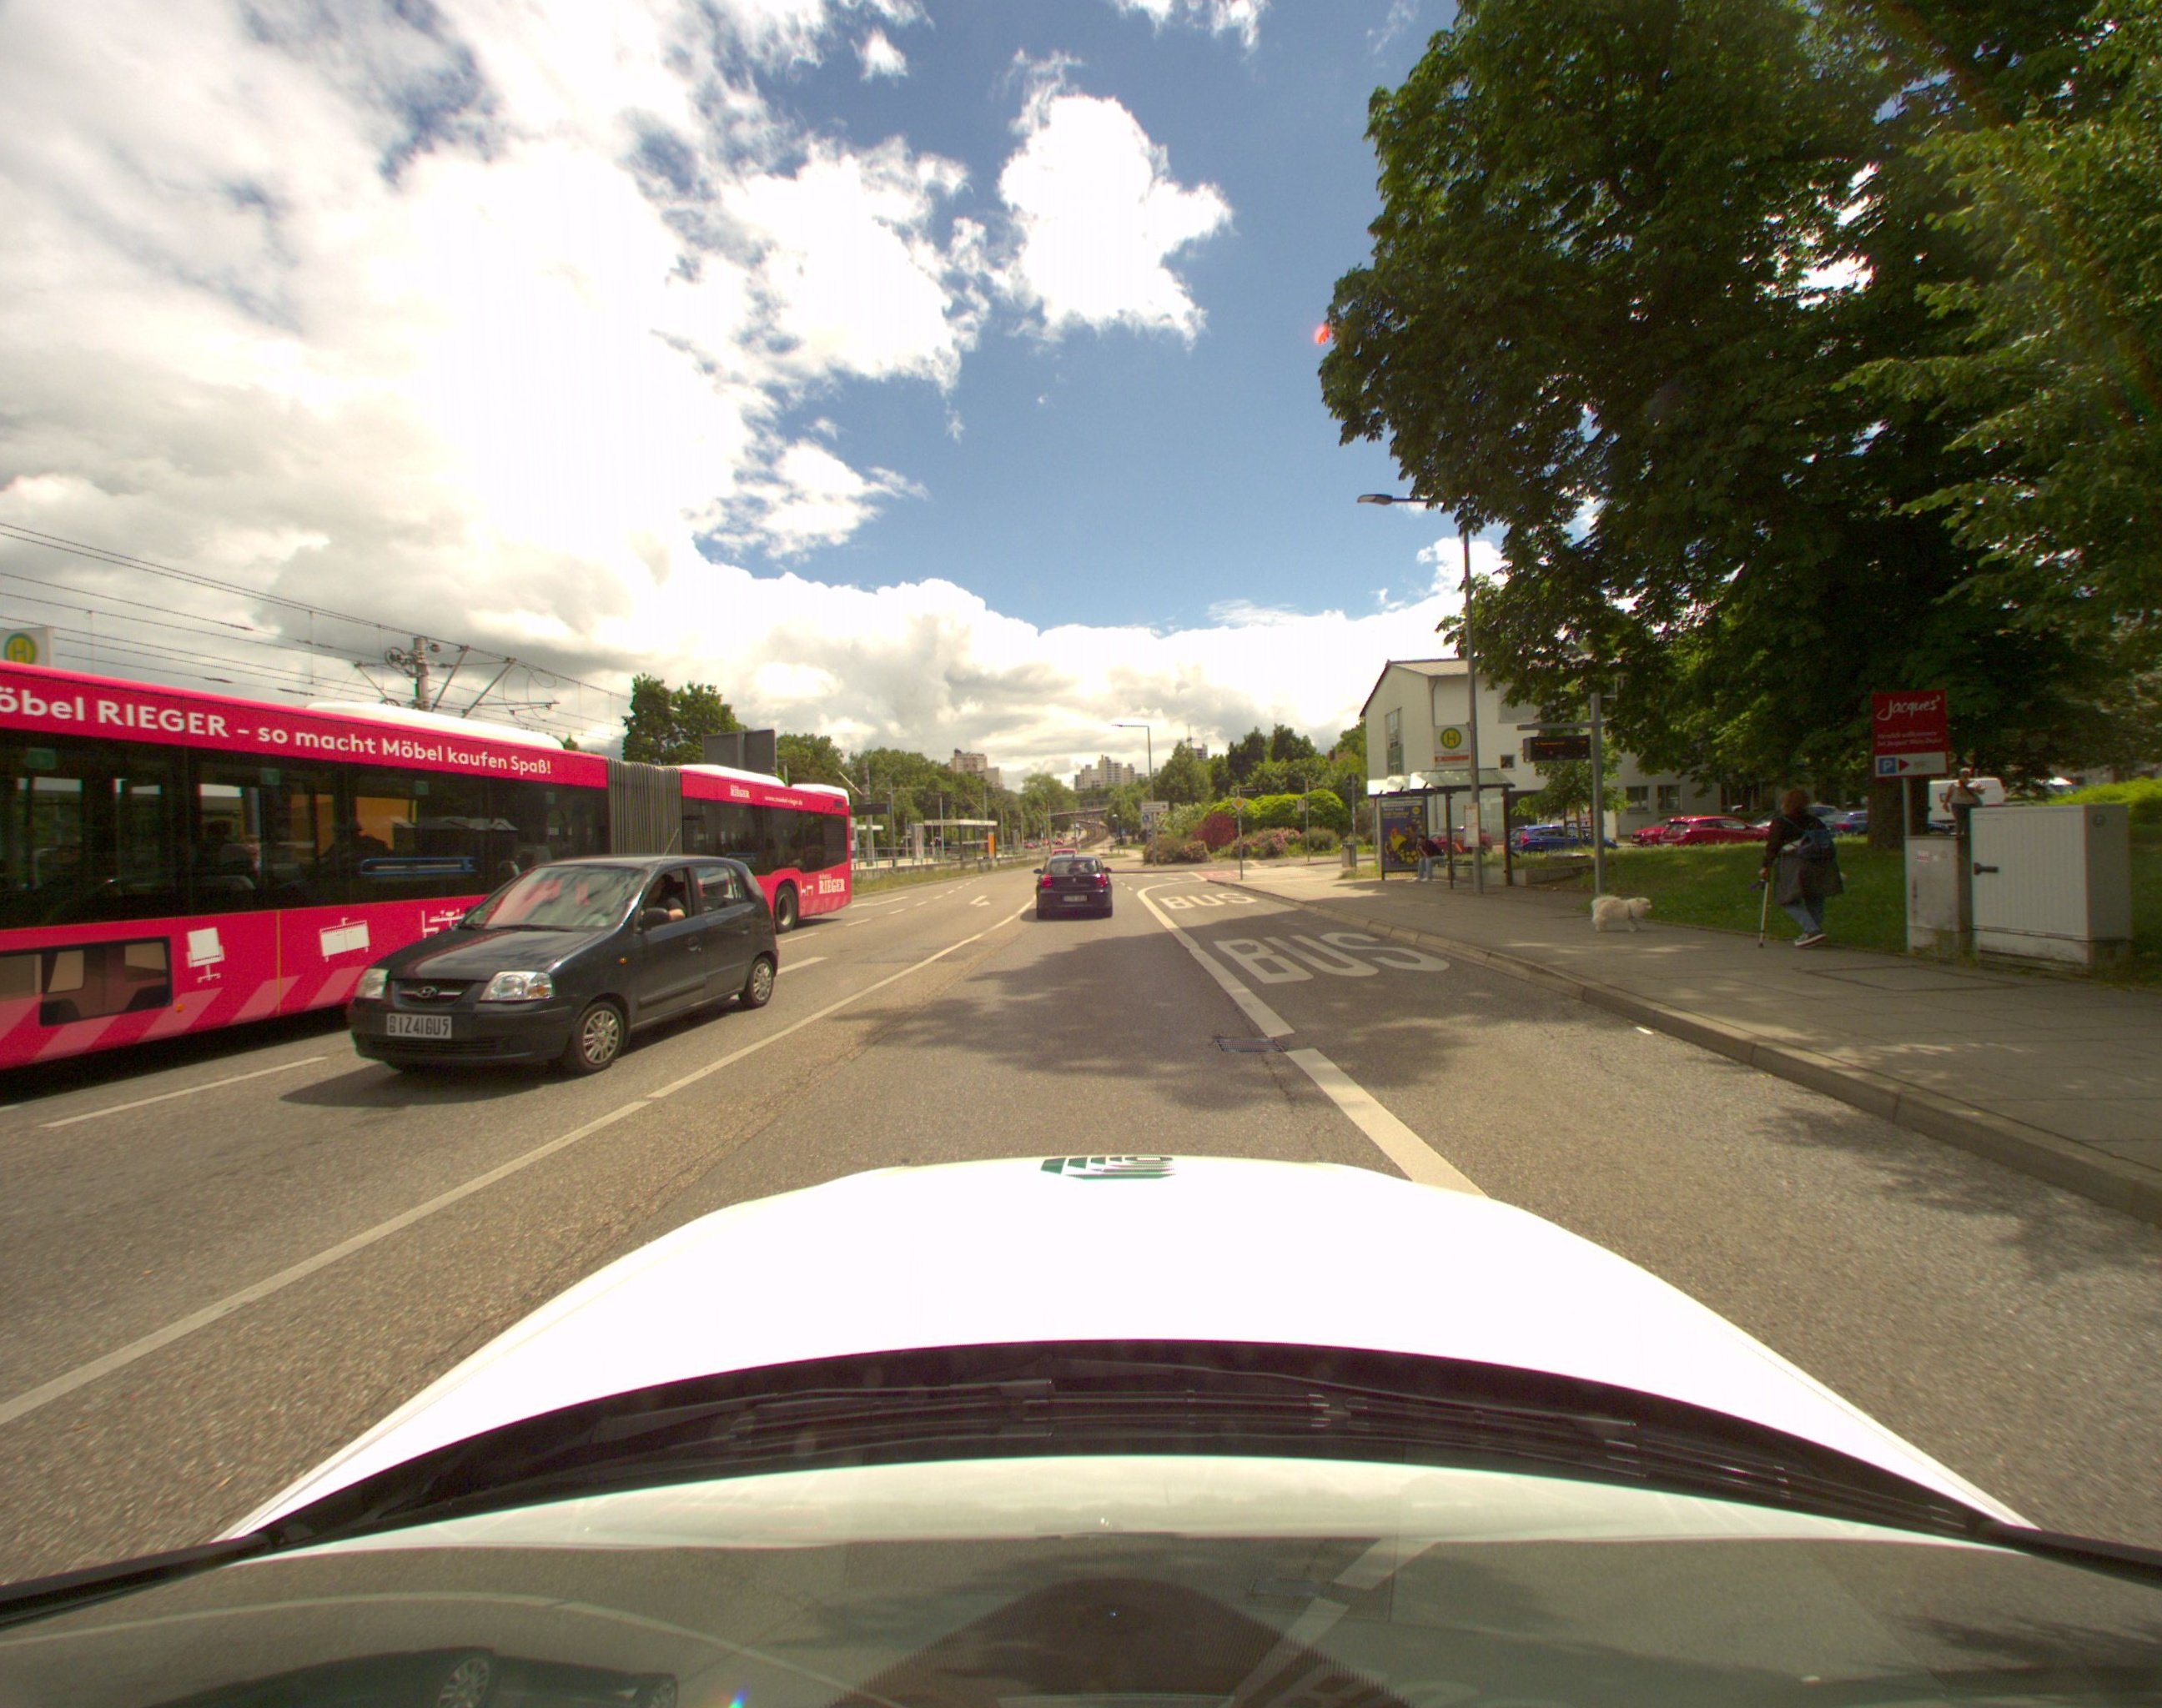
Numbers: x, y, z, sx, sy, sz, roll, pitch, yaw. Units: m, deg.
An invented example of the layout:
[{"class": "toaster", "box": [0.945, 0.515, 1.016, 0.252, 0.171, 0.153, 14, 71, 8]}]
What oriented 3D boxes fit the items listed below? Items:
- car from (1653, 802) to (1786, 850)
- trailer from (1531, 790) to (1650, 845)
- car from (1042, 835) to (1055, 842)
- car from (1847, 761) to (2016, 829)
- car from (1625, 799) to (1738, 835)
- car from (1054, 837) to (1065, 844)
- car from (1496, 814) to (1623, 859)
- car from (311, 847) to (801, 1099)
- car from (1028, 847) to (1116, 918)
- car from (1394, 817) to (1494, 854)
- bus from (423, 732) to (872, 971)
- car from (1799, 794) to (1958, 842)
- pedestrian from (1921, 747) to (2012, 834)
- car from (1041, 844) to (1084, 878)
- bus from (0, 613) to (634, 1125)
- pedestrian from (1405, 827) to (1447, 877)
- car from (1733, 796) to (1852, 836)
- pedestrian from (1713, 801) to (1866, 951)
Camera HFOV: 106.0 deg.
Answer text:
[{"class": "car", "box": [24.549, -1.080, 31.434, 3.671, 1.643, 1.832, -2, 2, 3]}, {"class": "trailer", "box": [25.276, -1.824, 40.560, 4.517, 2.486, 2.224, -2, 2, 4]}, {"class": "car", "box": [-7.144, -3.446, 179.640, 1.902, 1.561, 4.010, -2, 2, 8]}, {"class": "car", "box": [41.117, -2.800, 39.498, 5.551, 2.866, 2.207, -3, 1, 5]}, {"class": "car", "box": [29.623, -1.824, 40.291, 4.063, 1.502, 2.002, -4, 2, 3]}, {"class": "car", "box": [-4.786, -2.923, 178.675, 1.708, 1.502, 2.976, -2, 2, 11]}, {"class": "car", "box": [18.543, -0.707, 31.706, 3.778, 1.456, 1.898, -4, 2, 3]}, {"class": "car", "box": [-3.973, 0.739, 7.004, 1.522, 1.551, 3.738, -1, 1, 5]}, {"class": "car", "box": [-0.147, 0.607, 19.492, 1.809, 1.420, 4.001, -3, 0, 1]}, {"class": "car", "box": [18.118, -0.958, 40.761, 4.142, 1.561, 2.001, -3, 3, 0]}, {"class": "bus", "box": [-6.919, -0.097, 15.257, 2.712, 3.069, 8.980, -2, 1, 6]}, {"class": "car", "box": [30.416, -1.366, 31.172, 4.063, 1.559, 2.001, -3, 1, 2]}, {"class": "pedestrian", "box": [19.047, -1.335, 17.547, 0.978, 1.760, 0.862, -3, 0, 15]}, {"class": "car", "box": [-0.834, 0.299, 38.771, 1.759, 1.432, 3.481, -3, 1, 2]}, {"class": "bus", "box": [-7.823, 0.105, 5.987, 2.712, 3.109, 9.722, -2, 1, 6]}, {"class": "pedestrian", "box": [9.066, -0.069, 21.417, 0.822, 1.258, 0.688, -3, 1, 8]}, {"class": "car", "box": [34.763, -1.836, 39.880, 3.966, 1.723, 1.912, -3, 1, 6]}, {"class": "pedestrian", "box": [7.220, 0.216, 8.346, 0.815, 1.424, 0.831, -3, 0, 6]}]
